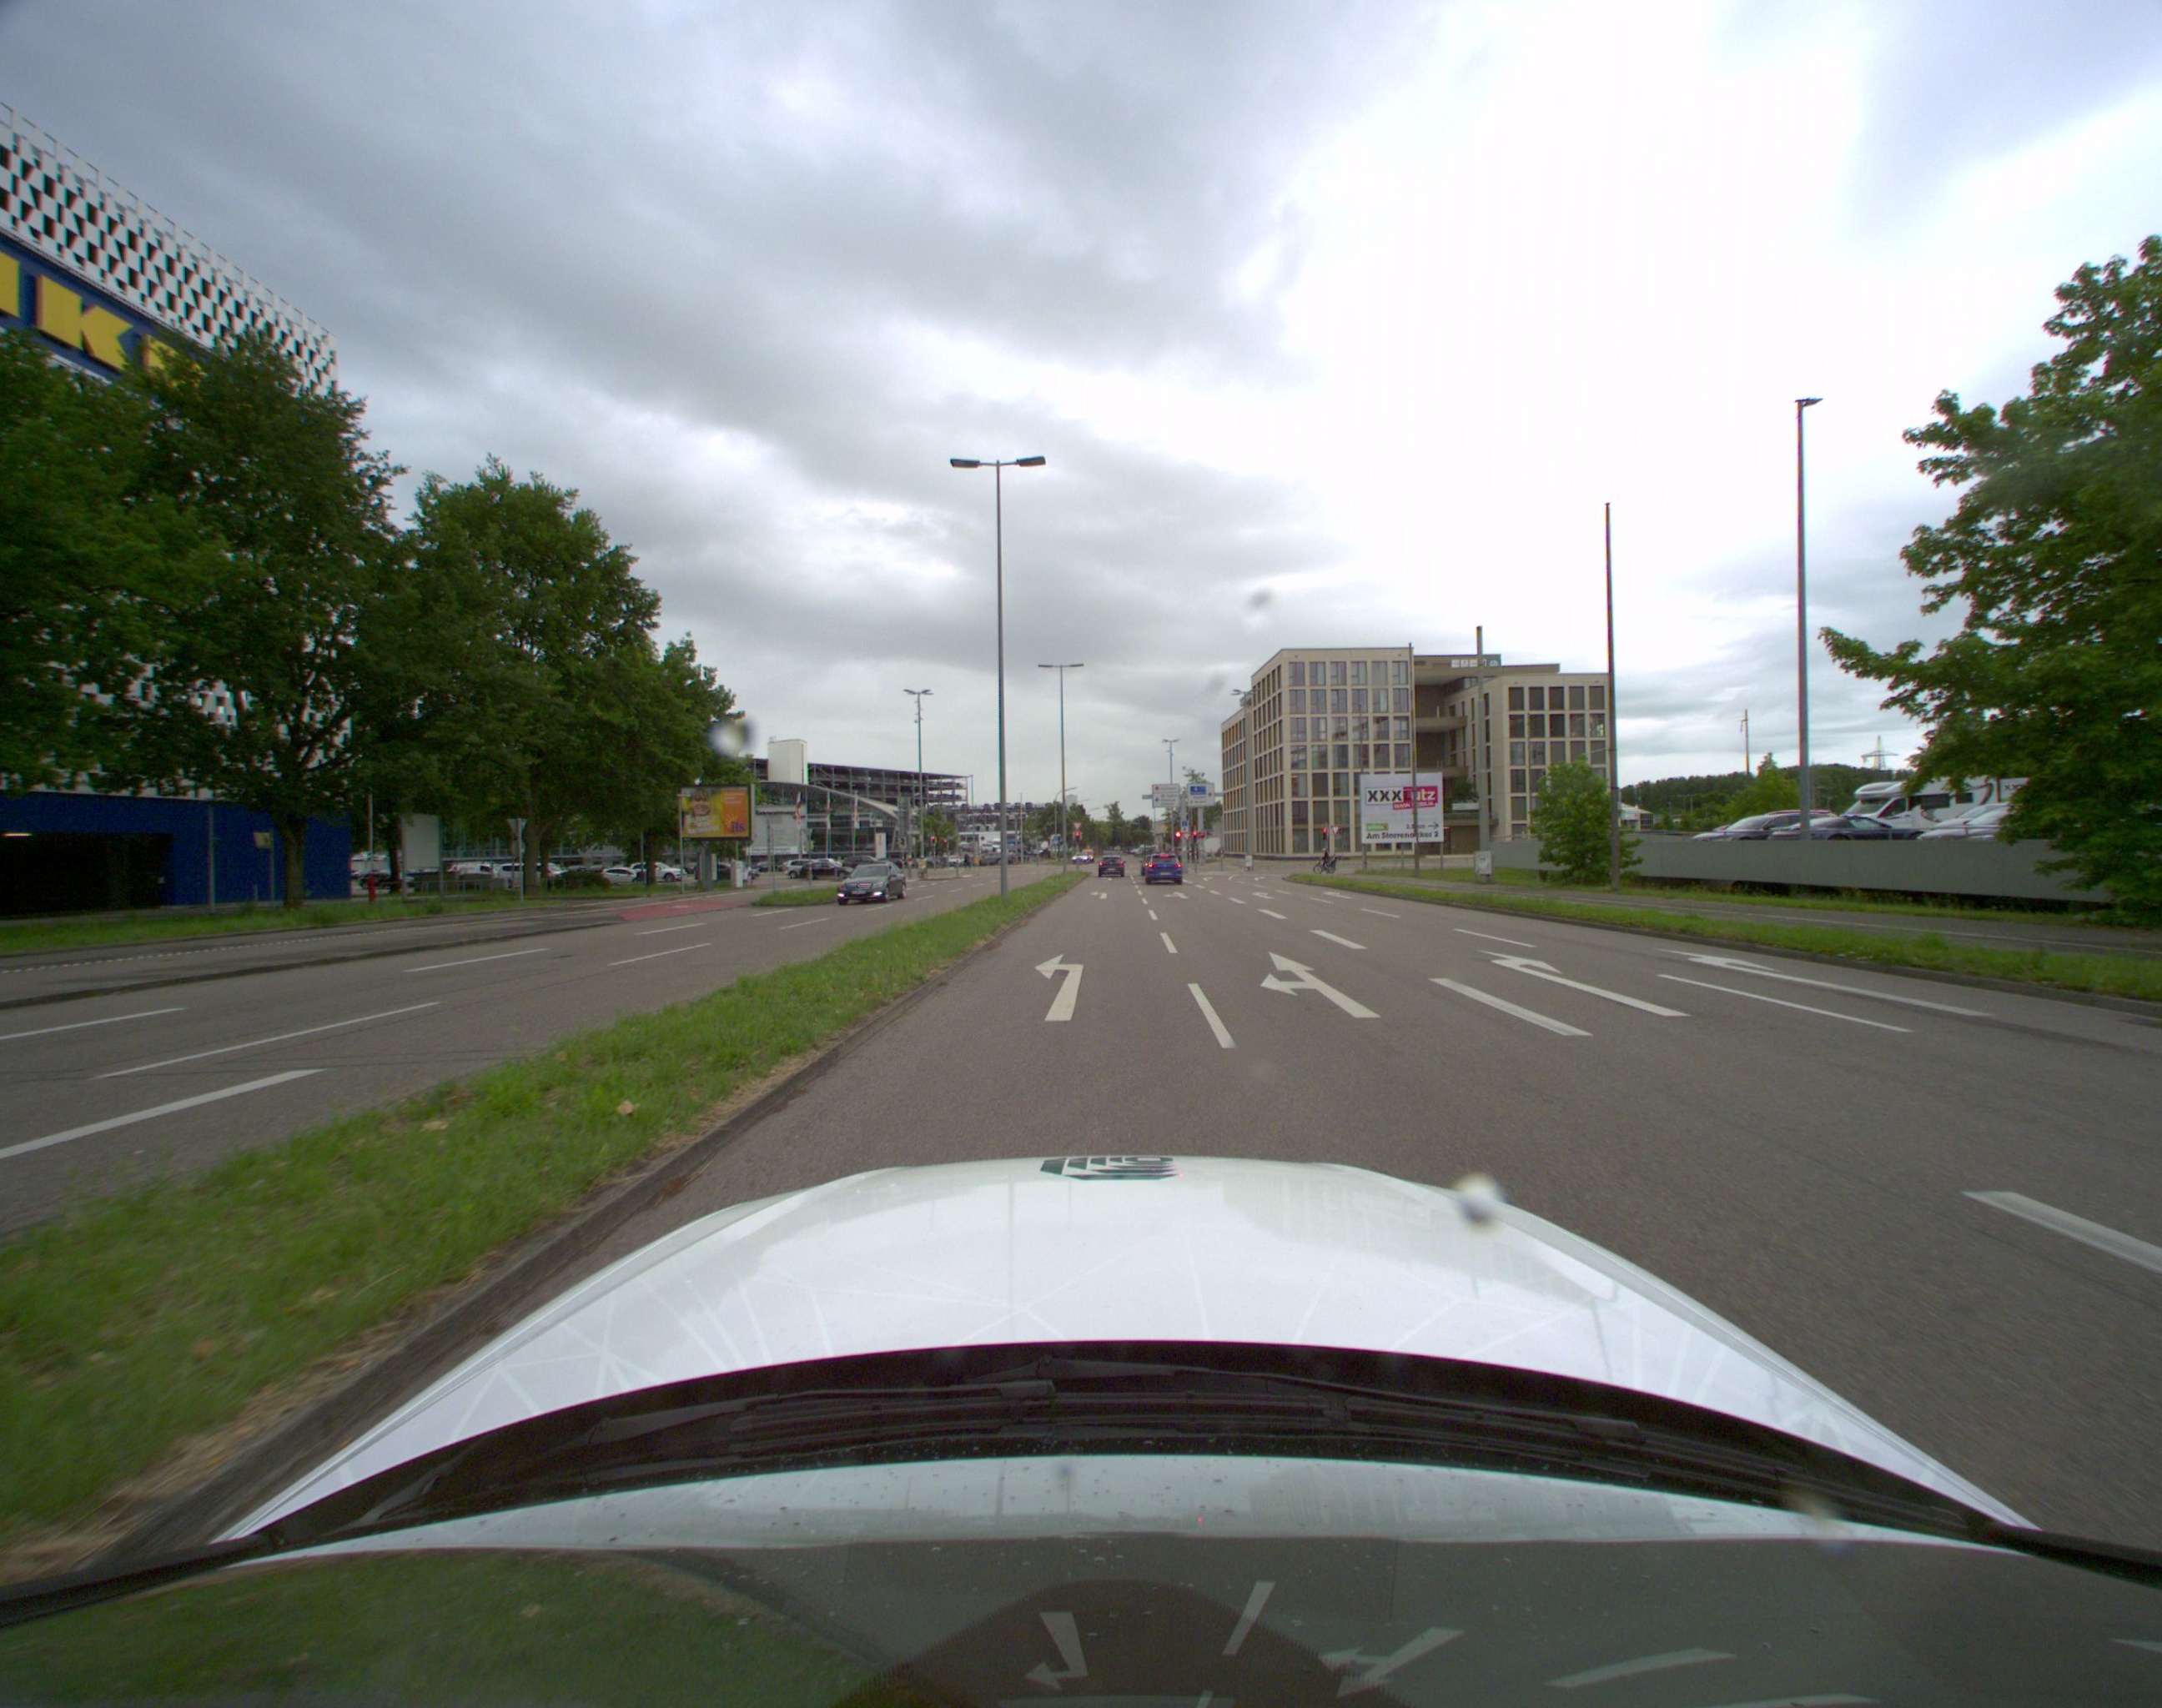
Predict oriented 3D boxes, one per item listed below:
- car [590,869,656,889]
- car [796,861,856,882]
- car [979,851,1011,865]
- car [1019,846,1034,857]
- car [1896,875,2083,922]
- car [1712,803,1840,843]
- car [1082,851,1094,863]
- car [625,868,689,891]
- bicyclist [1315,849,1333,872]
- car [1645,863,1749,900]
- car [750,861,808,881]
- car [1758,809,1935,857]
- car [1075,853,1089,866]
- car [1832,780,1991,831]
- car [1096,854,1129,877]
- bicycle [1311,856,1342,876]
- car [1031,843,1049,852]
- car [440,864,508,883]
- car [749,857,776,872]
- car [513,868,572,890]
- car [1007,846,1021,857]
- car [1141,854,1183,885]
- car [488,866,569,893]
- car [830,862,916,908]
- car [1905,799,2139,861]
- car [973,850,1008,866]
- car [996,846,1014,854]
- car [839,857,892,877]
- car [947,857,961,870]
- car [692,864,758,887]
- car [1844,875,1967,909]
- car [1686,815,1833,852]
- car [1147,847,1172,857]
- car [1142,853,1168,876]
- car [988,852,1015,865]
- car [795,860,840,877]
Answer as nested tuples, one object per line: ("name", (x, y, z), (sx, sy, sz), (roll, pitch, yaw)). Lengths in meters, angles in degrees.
("car", (-37.833, 2.054, 67.373), (4.217, 1.512, 1.992), (-1, 1, -3))
("car", (-21.290, 1.416, 68.076), (4.409, 1.660, 1.996), (-1, 0, -6))
("car", (-10.591, 0.515, 100.760), (3.814, 1.589, 1.681), (-1, 2, -3))
("car", (-9.547, -0.464, 142.611), (1.766, 1.705, 3.924), (-1, 2, 7))
("car", (29.016, 1.405, 26.090), (4.040, 1.350, 1.764), (-1, 0, 0))
("car", (31.110, -1.365, 36.514), (1.851, 1.679, 4.212), (-3, 3, -44))
("car", (0.944, 0.403, 110.456), (1.594, 1.453, 3.326), (-1, 2, 2))
("car", (-36.643, 2.161, 70.498), (4.424, 1.711, 1.998), (-1, 3, -4))
("bicyclist", (16.549, 0.440, 55.476), (0.705, 1.504, 0.989), (-1, 0, -35))
("car", (36.561, 1.593, 48.560), (2.446, 2.013, 5.110), (-1, 0, 2))
("car", (-26.262, 1.477, 70.910), (4.242, 1.509, 1.997), (-1, 2, -5))
("car", (23.695, -0.657, 25.304), (3.910, 1.351, 1.721), (-1, 1, 0))
("car", (0.087, 0.691, 102.325), (1.594, 1.453, 3.326), (-1, 2, 2))
("car", (38.640, -2.220, 38.013), (4.988, 2.210, 2.168), (-1, 2, 4))
("car", (2.058, 0.794, 54.342), (1.981, 1.428, 4.240), (-1, -1, 0))
("bicycle", (16.679, 0.818, 55.291), (0.705, 1.295, 1.989), (-1, 0, -35))
("car", (-7.663, -1.279, 152.771), (3.286, 1.640, 1.479), (-1, 2, -2))
("car", (-52.112, 1.676, 69.981), (4.217, 1.504, 1.992), (-1, 1, -3))
("car", (-36.247, 1.149, 92.676), (1.592, 1.485, 3.537), (-1, 2, 1))
("car", (-46.332, 2.125, 70.117), (3.748, 1.746, 1.880), (-1, 2, 0))
("car", (-11.730, -0.423, 142.612), (1.766, 1.705, 3.924), (-1, 2, 7))
("car", (4.089, 0.780, 41.705), (1.828, 1.514, 4.001), (-1, -1, 1))
("car", (-45.235, 2.044, 66.764), (5.119, 1.963, 1.879), (-1, 3, -3))
("car", (-7.752, 1.120, 30.796), (1.783, 1.479, 4.536), (-3, 0, 4))
("car", (23.118, -0.584, 20.107), (3.861, 1.384, 1.720), (-1, 1, -1))
("car", (-10.951, 0.517, 98.555), (3.978, 1.790, 1.845), (-1, 2, -3))
("car", (-16.154, -0.887, 173.540), (3.657, 1.528, 1.611), (-1, 2, -6))
("car", (-19.715, 1.190, 74.737), (4.397, 1.643, 1.996), (-1, 2, -6))
("car", (-14.598, 1.100, 93.709), (1.372, 1.326, 3.021), (-1, 2, -12))
("car", (-29.468, 1.736, 67.466), (4.536, 1.659, 1.996), (-2, 0, -5))
("car", (35.172, 1.614, 34.799), (3.602, 1.285, 1.461), (-1, 2, 6))
("car", (23.316, -0.711, 28.077), (3.681, 1.176, 1.721), (-1, 1, 0))
("car", (12.511, -0.295, 129.226), (3.572, 1.478, 1.769), (0, 2, 22))
("car", (5.088, 0.710, 56.160), (1.519, 1.432, 3.391), (-1, 1, 1))
("car", (-10.665, 0.577, 109.298), (3.597, 1.667, 1.547), (-1, 2, -3))
("car", (-26.697, 1.497, 82.531), (3.936, 1.567, 1.757), (-1, 2, -5))
